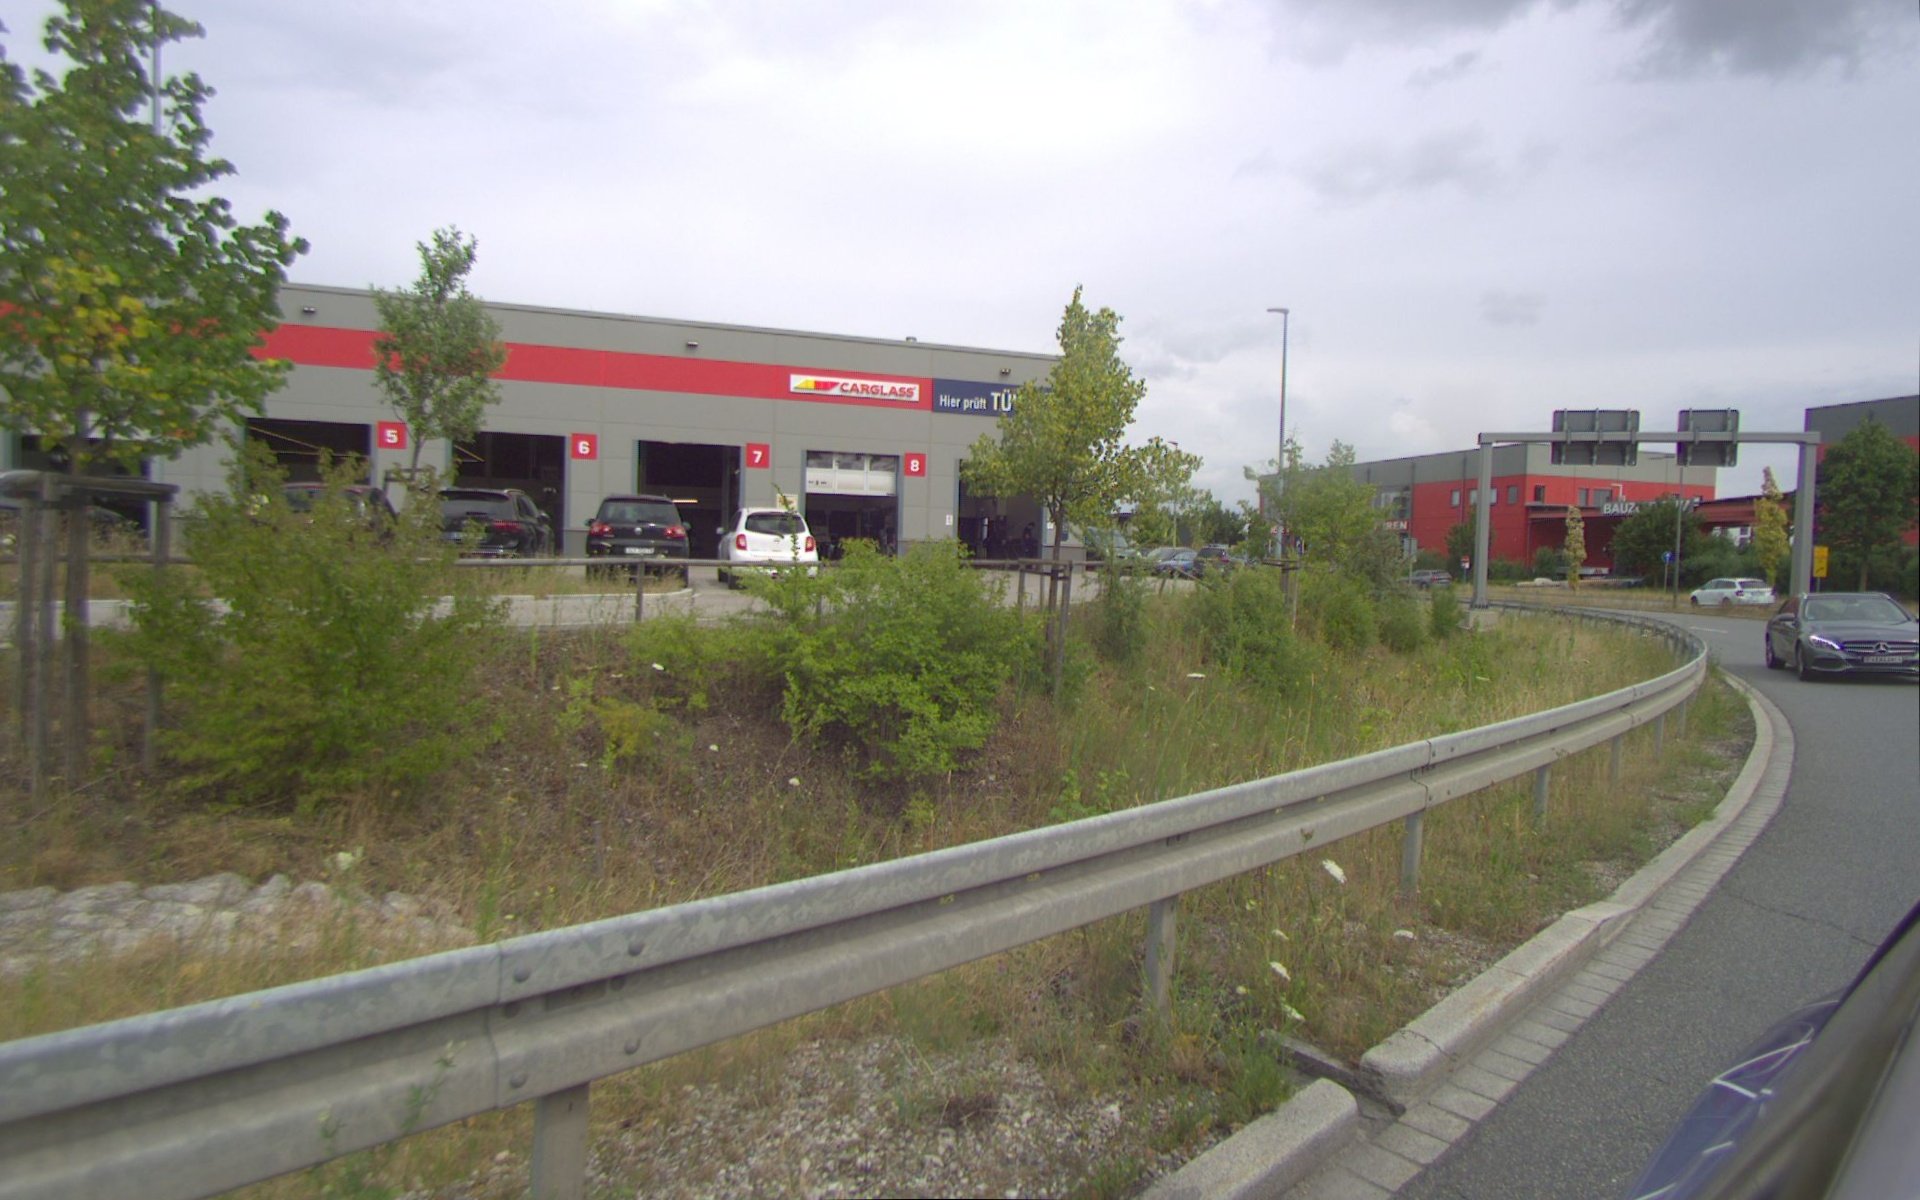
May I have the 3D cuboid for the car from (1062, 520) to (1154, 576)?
[{"bbox_3d":[5.352,-1.886,37.156,1.669,1.833,3.981,3,2,-18],"label":"car"}]

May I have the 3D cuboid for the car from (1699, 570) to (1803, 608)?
[{"bbox_3d":[35.580,-0.538,45.676,1.691,1.654,4.260,0,1,7],"label":"car"}]

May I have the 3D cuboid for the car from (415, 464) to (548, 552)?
[{"bbox_3d":[-8.472,-1.574,18.166,1.609,1.351,3.454,1,2,-16],"label":"car"}]

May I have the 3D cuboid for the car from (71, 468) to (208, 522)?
[{"bbox_3d":[-23.516,-2.967,29.183,1.626,1.240,3.922,0,2,-16],"label":"car"}]

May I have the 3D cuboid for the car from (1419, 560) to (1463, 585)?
[{"bbox_3d":[34.889,-2.005,73.541,1.786,1.650,4.672,-1,1,11],"label":"car"}]

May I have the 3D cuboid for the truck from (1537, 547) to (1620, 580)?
[{"bbox_3d":[50.354,-3.014,82.570,1.997,2.517,5.923,-1,3,-16],"label":"truck"}]

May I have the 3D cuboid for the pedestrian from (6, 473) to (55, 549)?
[{"bbox_3d":[-21.997,-2.096,23.959,0.582,1.763,0.637,1,1,5],"label":"pedestrian"}]

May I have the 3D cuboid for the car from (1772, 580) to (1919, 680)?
[{"bbox_3d":[15.569,0.439,17.467,1.893,1.516,4.289,-2,0,32],"label":"car"}]

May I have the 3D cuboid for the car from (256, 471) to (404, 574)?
[{"bbox_3d":[-10.788,-1.246,17.573,1.642,1.557,3.893,0,2,-24],"label":"car"}]

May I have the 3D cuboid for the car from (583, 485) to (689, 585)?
[{"bbox_3d":[-5.995,-1.202,18.918,1.695,1.655,3.455,1,3,-16],"label":"car"}]

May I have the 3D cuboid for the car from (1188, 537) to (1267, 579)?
[{"bbox_3d":[12.375,-1.969,46.712,1.798,1.804,4.107,0,3,42],"label":"car"}]

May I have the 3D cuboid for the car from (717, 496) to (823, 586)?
[{"bbox_3d":[-3.827,-1.191,19.968,1.609,1.556,3.639,1,4,-17],"label":"car"}]
